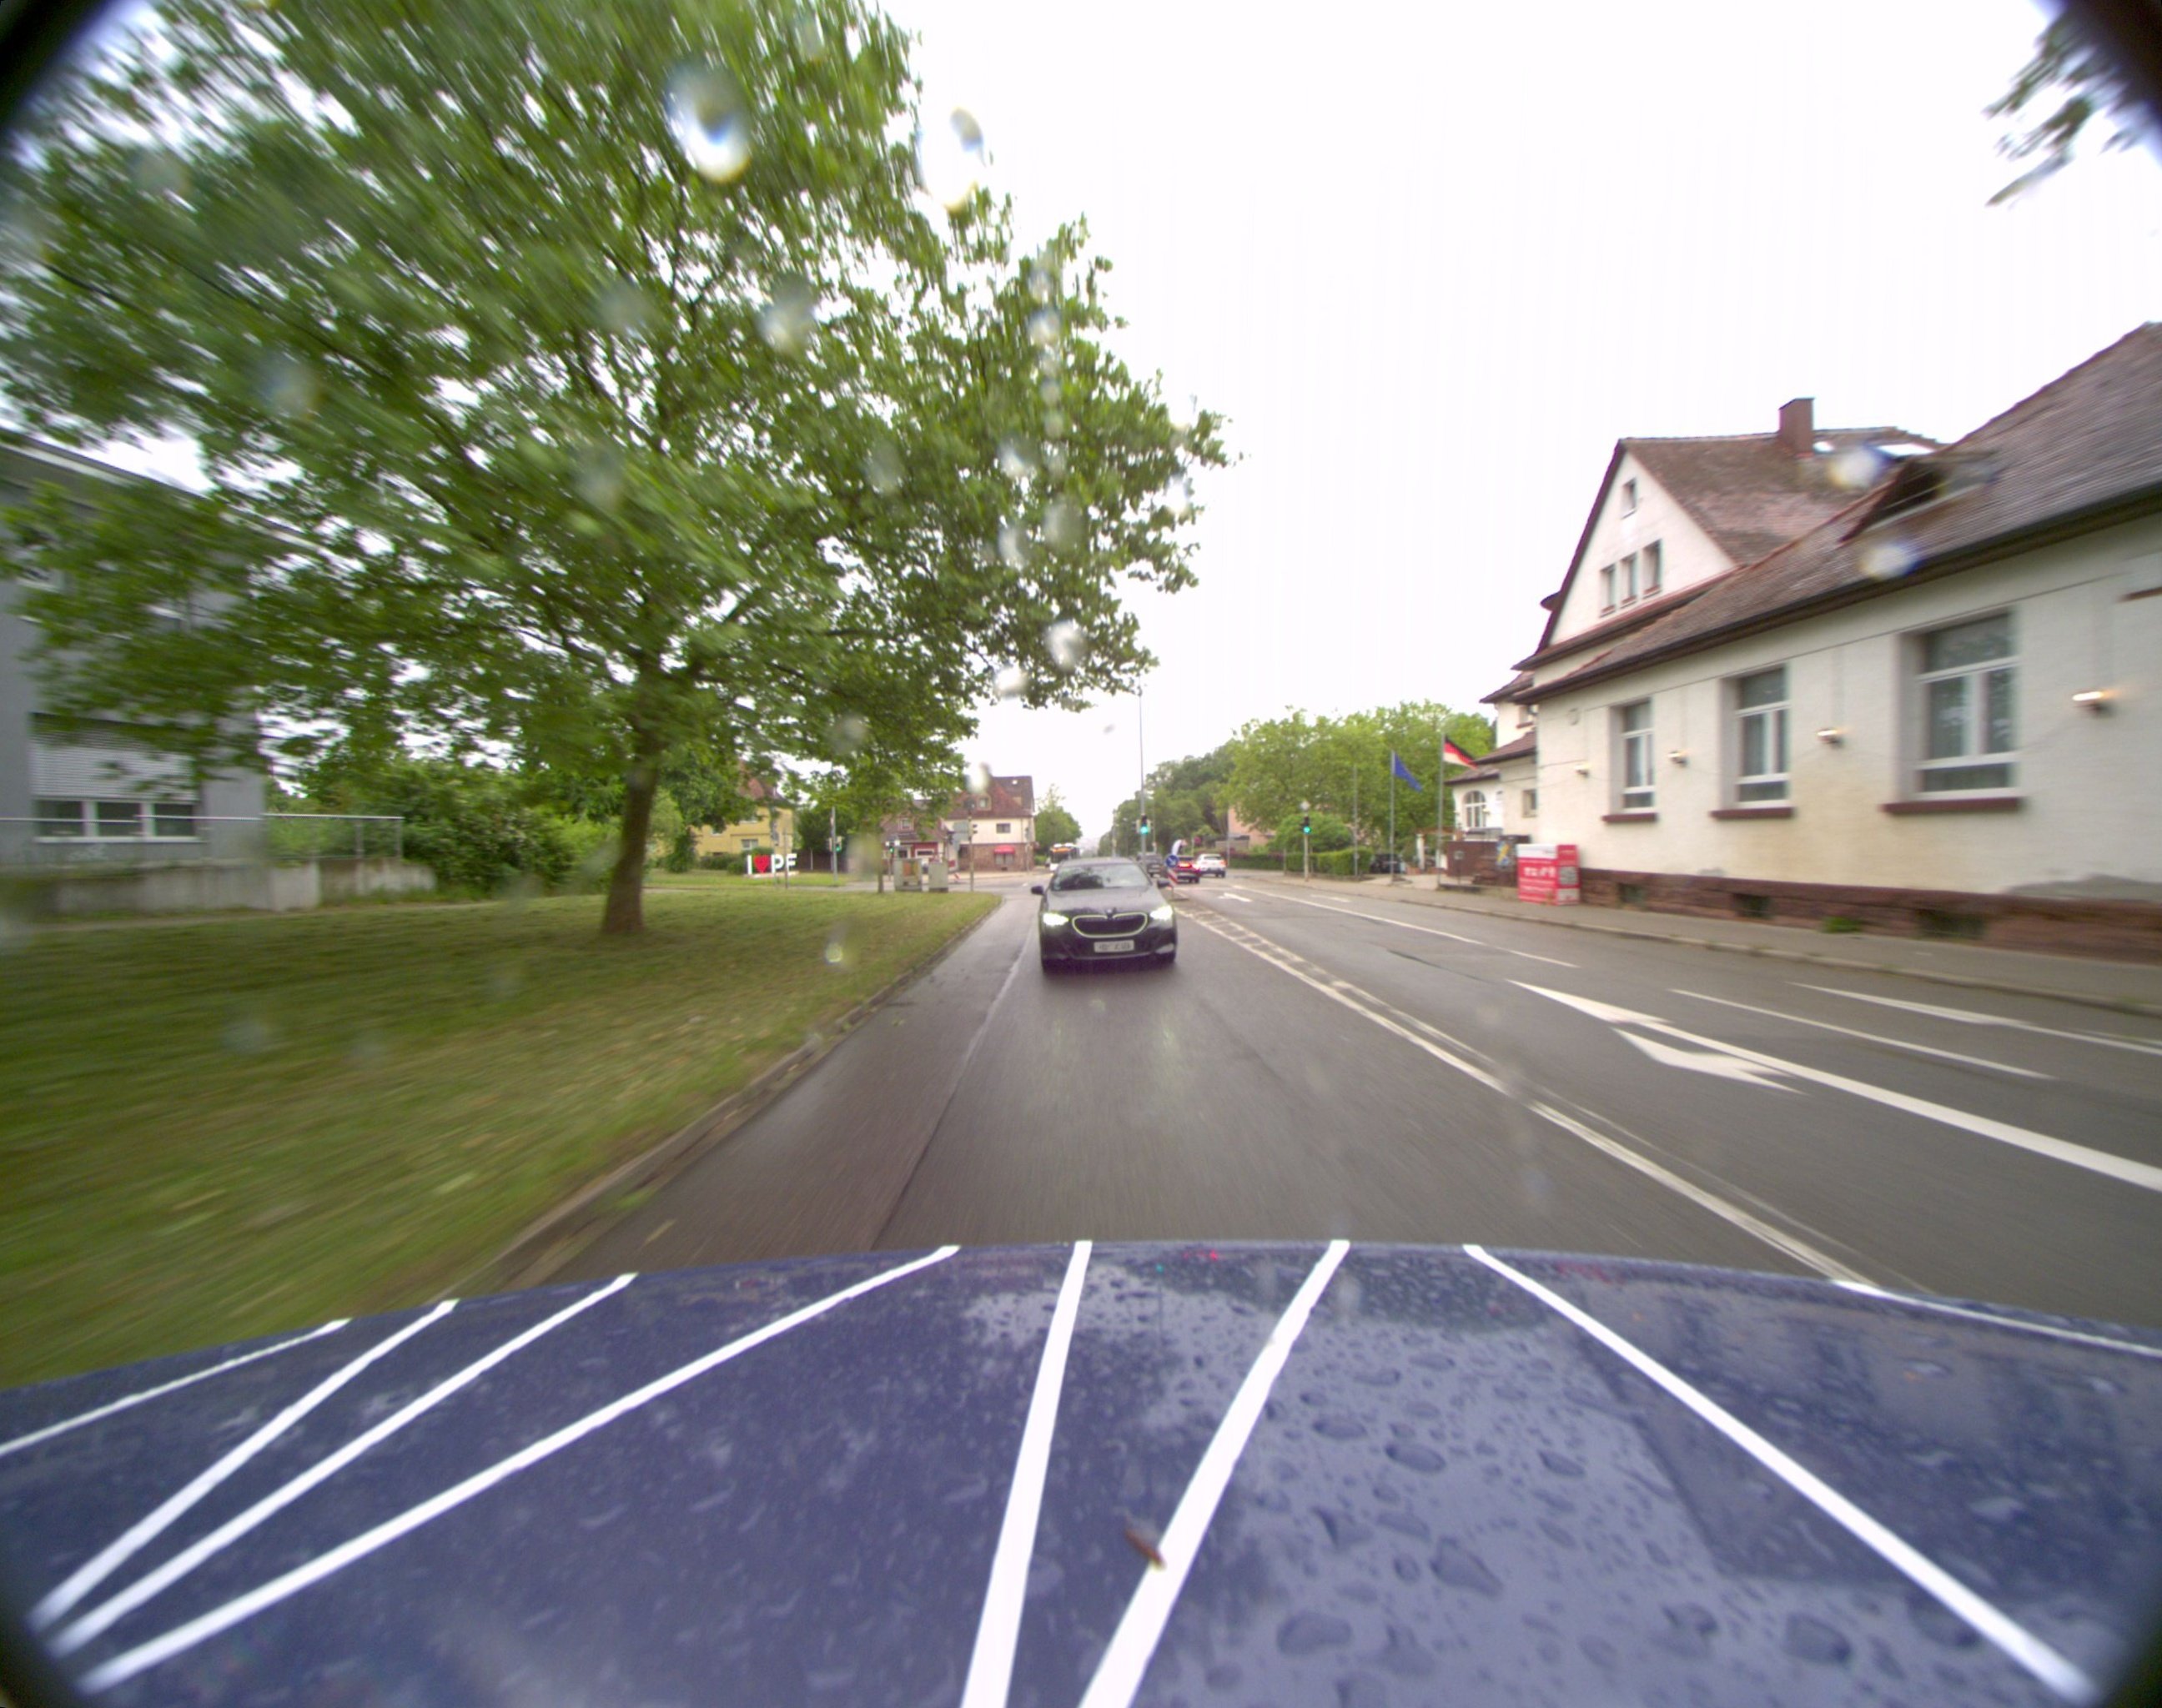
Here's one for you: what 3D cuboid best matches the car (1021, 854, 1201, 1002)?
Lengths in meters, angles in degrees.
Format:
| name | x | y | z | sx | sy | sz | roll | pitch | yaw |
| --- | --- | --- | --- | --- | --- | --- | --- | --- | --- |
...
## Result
| name | x | y | z | sx | sy | sz | roll | pitch | yaw |
| --- | --- | --- | --- | --- | --- | --- | --- | --- | --- |
| car | 0.260 | 0.860 | 10.836 | 1.999 | 1.586 | 4.146 | -3 | 0 | -3 |

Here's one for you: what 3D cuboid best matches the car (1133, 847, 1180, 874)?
| name | x | y | z | sx | sy | sz | roll | pitch | yaw |
| --- | --- | --- | --- | --- | --- | --- | --- | --- | --- |
| car | 5.044 | 0.429 | 51.055 | 2.000 | 1.652 | 4.299 | -1 | 0 | -11 |

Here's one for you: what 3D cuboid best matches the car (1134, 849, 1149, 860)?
| name | x | y | z | sx | sy | sz | roll | pitch | yaw |
| --- | --- | --- | --- | --- | --- | --- | --- | --- | --- |
| car | 9.716 | 0.079 | 122.327 | 1.998 | 1.652 | 4.304 | -1 | 0 | 1 |

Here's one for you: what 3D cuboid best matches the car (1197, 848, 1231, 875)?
| name | x | y | z | sx | sy | sz | roll | pitch | yaw |
| --- | --- | --- | --- | --- | --- | --- | --- | --- | --- |
| car | 9.160 | 0.558 | 52.523 | 1.997 | 1.673 | 4.003 | 3 | -1 | 6 |

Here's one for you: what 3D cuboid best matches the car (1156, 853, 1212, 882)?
| name | x | y | z | sx | sy | sz | roll | pitch | yaw |
| --- | --- | --- | --- | --- | --- | --- | --- | --- | --- |
| car | 5.264 | 0.680 | 39.432 | 1.999 | 1.420 | 4.386 | -1 | 0 | -4 |

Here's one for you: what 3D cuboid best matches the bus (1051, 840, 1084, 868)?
| name | x | y | z | sx | sy | sz | roll | pitch | yaw |
| --- | --- | --- | --- | --- | --- | --- | --- | --- | --- |
| bus | -1.342 | -0.070 | 83.796 | 2.897 | 2.770 | 10.386 | -4 | 1 | 2 |
